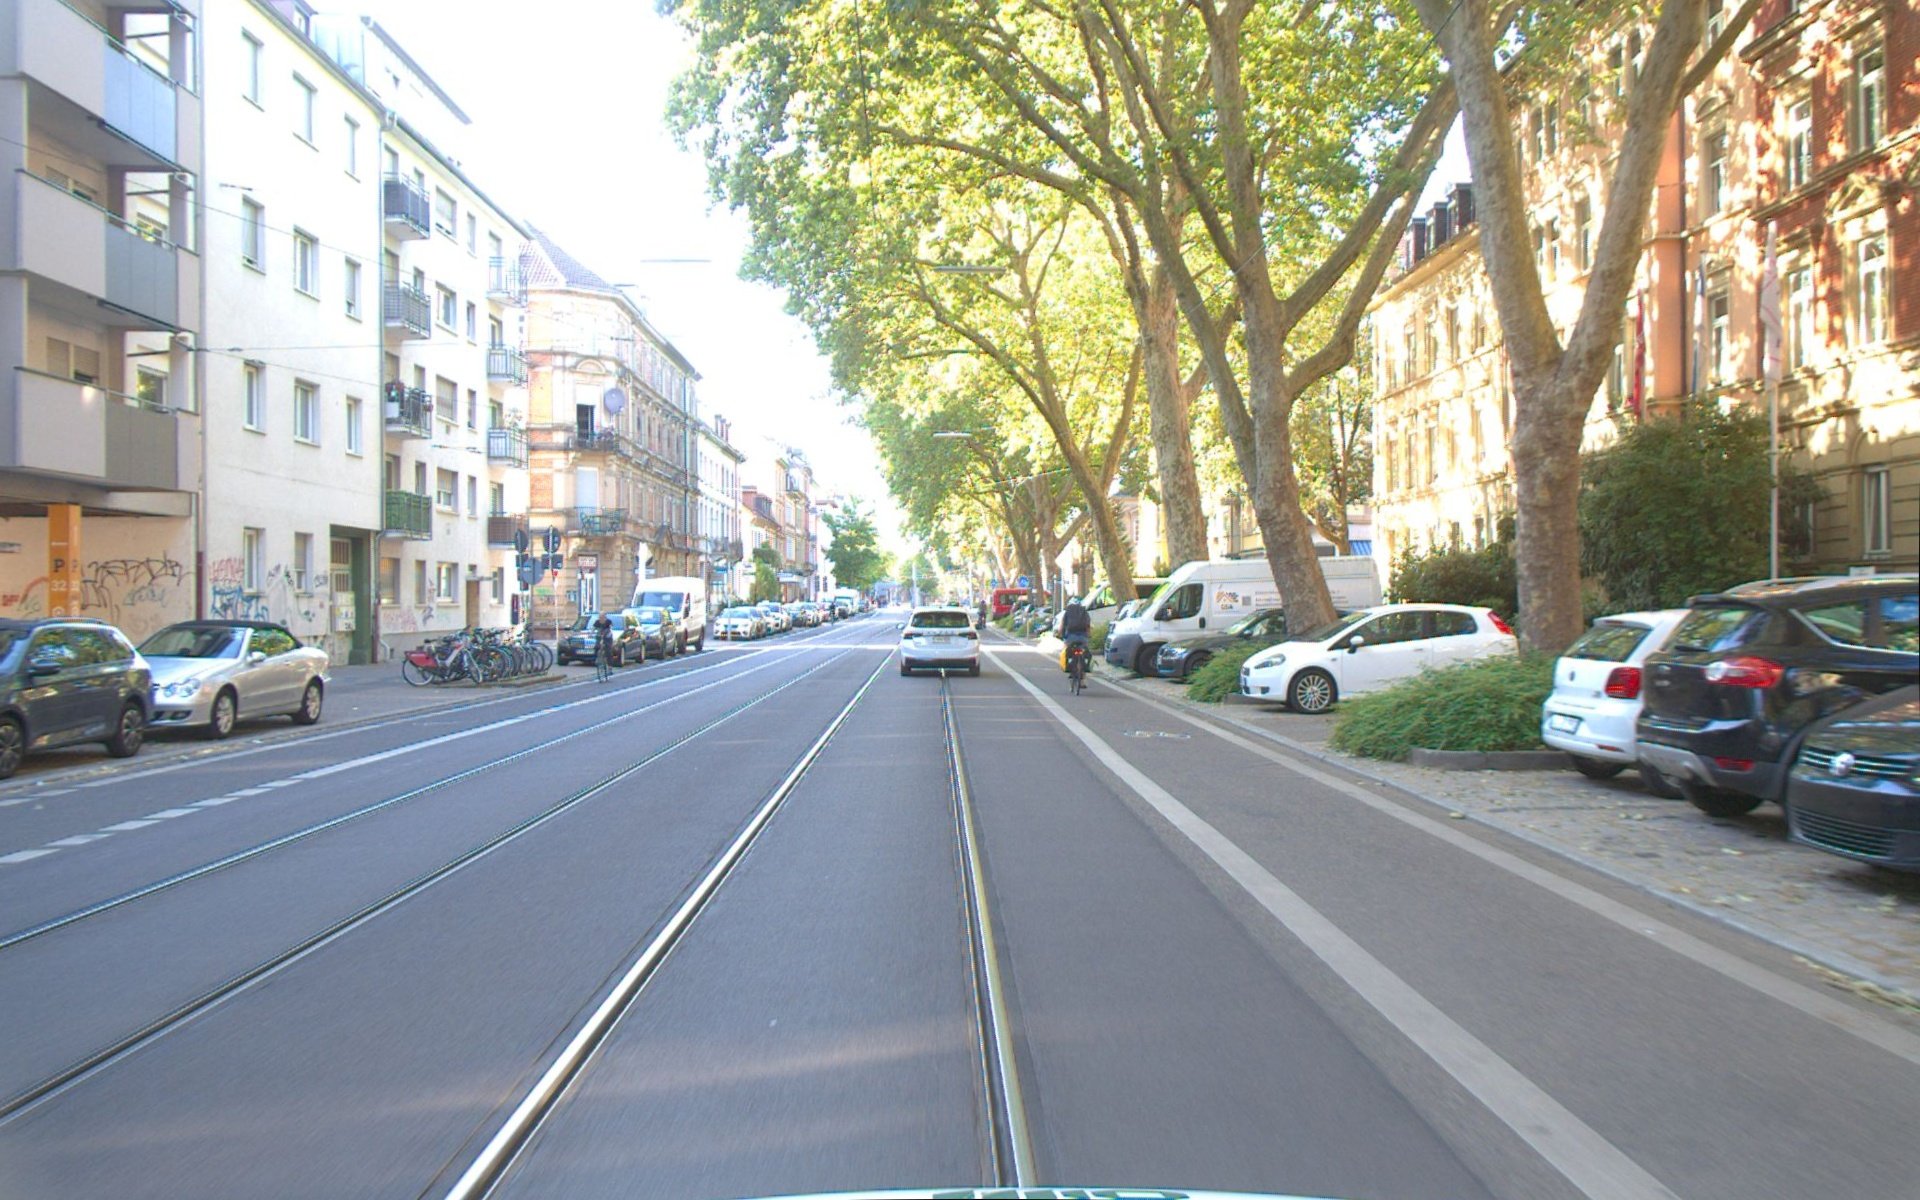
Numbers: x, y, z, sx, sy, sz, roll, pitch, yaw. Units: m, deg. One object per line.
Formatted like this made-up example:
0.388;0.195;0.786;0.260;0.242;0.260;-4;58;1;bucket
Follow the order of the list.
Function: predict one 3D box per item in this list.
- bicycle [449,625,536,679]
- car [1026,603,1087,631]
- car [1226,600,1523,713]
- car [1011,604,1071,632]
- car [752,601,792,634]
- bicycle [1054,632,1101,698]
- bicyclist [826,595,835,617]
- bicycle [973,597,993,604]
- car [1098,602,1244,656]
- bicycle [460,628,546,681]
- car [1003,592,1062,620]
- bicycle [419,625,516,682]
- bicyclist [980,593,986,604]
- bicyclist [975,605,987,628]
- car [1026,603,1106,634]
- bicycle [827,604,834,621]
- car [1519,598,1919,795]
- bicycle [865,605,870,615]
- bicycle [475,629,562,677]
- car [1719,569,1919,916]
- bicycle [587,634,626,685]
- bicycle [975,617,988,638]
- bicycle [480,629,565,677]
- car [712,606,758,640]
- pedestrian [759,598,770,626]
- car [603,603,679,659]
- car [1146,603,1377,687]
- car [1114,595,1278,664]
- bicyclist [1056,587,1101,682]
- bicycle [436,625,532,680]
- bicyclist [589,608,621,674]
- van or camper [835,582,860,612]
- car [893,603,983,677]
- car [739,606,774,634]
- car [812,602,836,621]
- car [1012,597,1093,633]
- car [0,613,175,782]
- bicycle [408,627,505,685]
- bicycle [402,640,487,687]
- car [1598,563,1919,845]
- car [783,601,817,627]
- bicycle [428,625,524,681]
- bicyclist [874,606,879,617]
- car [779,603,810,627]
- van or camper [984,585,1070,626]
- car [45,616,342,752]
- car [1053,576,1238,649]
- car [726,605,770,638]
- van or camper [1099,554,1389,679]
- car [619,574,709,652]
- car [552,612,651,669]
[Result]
-10.229;1.126;36.211;1.780;1.139;0.425;1;-1;6;bicycle
5.706;1.018;98.086;3.522;1.627;1.540;-1;-1;-1;car
5.953;0.792;24.058;3.872;1.506;1.688;-1;0;0;car
4.887;1.088;100.414;3.522;1.544;1.693;-2;0;-1;car
-10.647;0.975;93.861;1.750;1.753;4.717;1;0;-1;car
2.013;1.092;28.599;0.583;1.022;2.511;2;0;-1;bicycle
-9.324;0.437;119.187;0.571;1.508;0.807;-1;0;-1;bicyclist
3.227;0.097;233.386;2.711;1.017;0.593;1;0;14;bicycle
6.082;0.818;47.948;3.973;1.485;1.795;-1;0;-3;car
-10.066;1.195;36.440;1.751;1.139;0.425;1;-1;6;bicycle
4.819;0.421;110.146;3.743;1.678;1.766;-2;-1;-4;car
-10.261;1.119;34.497;1.890;1.139;0.440;1;-1;6;bicycle
3.208;-0.234;233.419;0.721;1.617;0.587;-1;0;12;bicyclist
1.256;0.966;97.113;0.665;1.362;0.525;1;-1;-1;bicyclist
5.468;0.936;85.393;3.947;1.506;1.680;-1;0;-2;car
-9.331;0.897;119.228;0.412;1.170;2.231;-1;-1;-2;bicycle
6.748;0.756;13.879;3.536;1.521;1.659;0;0;-3;car
-10.190;1.083;182.132;0.471;1.105;1.846;-1;0;0;bicycle
-10.011;1.200;37.488;1.853;1.056;0.402;1;-1;6;bicycle
6.635;0.677;9.041;4.206;1.681;1.742;0;0;-4;car
-7.741;1.291;36.282;0.408;1.035;1.946;-2;0;-1;bicycle
1.245;1.603;96.980;0.666;1.175;2.964;1;0;-1;bicycle
-10.075;1.205;38.068;1.853;1.056;0.402;1;-1;6;bicycle
-10.557;1.072;77.701;1.705;1.518;4.043;1;0;-2;car
-14.612;0.879;123.411;0.744;2.049;0.829;0;0;-3;pedestrian
-9.934;0.944;51.745;1.684;1.660;4.345;0;0;-2;car
6.004;0.884;33.243;4.299;1.579;1.782;1;0;-2;car
6.042;0.743;42.586;3.876;1.684;1.794;-1;-1;-4;car
2.053;0.582;28.690;0.602;1.579;0.935;4;0;-1;bicyclist
-10.223;1.124;35.524;1.926;1.139;0.425;1;-1;6;bicycle
-7.758;0.886;36.147;0.498;1.418;0.709;-2;0;-1;bicyclist
-12.296;-0.362;181.134;2.171;3.195;7.114;1;0;1;van or camper
-0.520;0.827;35.749;1.805;1.506;3.836;1;0;-3;car
-10.855;1.062;88.519;1.666;1.445;3.996;1;0;-5;car
-11.540;0.978;140.497;1.790;1.529;4.686;1;0;-3;car
5.079;0.800;91.122;4.178;1.749;1.848;-3;0;-3;car
-9.701;0.910;16.573;1.758;1.517;4.239;0;0;-2;car
-10.309;1.151;33.865;1.853;1.139;0.402;1;-1;6;bicycle
-10.365;1.276;33.275;1.592;0.933;0.400;1;-1;-18;bicycle
6.704;0.642;11.404;3.912;1.775;1.805;0;0;-1;car
-11.007;0.962;114.040;1.818;1.733;4.762;-1;0;0;car
-10.247;1.121;35.036;1.919;1.139;0.440;1;-1;6;bicycle
-11.602;1.536;228.901;0.625;1.529;1.070;-1;0;0;bicyclist
-10.928;0.992;109.226;1.522;1.542;3.925;-1;0;2;car
4.603;0.379;114.767;5.699;2.563;2.286;-2;1;-3;van or camper
-9.717;0.985;21.420;1.655;1.517;4.728;0;0;0;car
6.047;0.392;54.430;5.868;2.322;2.006;-1;1;1;car
-10.668;1.071;83.437;1.705;1.589;4.784;1;0;-2;car
6.083;0.348;35.936;5.911;2.534;2.106;-1;0;-2;van or camper
-10.157;0.434;57.239;2.022;2.580;5.667;0;0;1;car
-9.844;1.083;45.750;1.683;1.482;4.572;0;0;1;car
